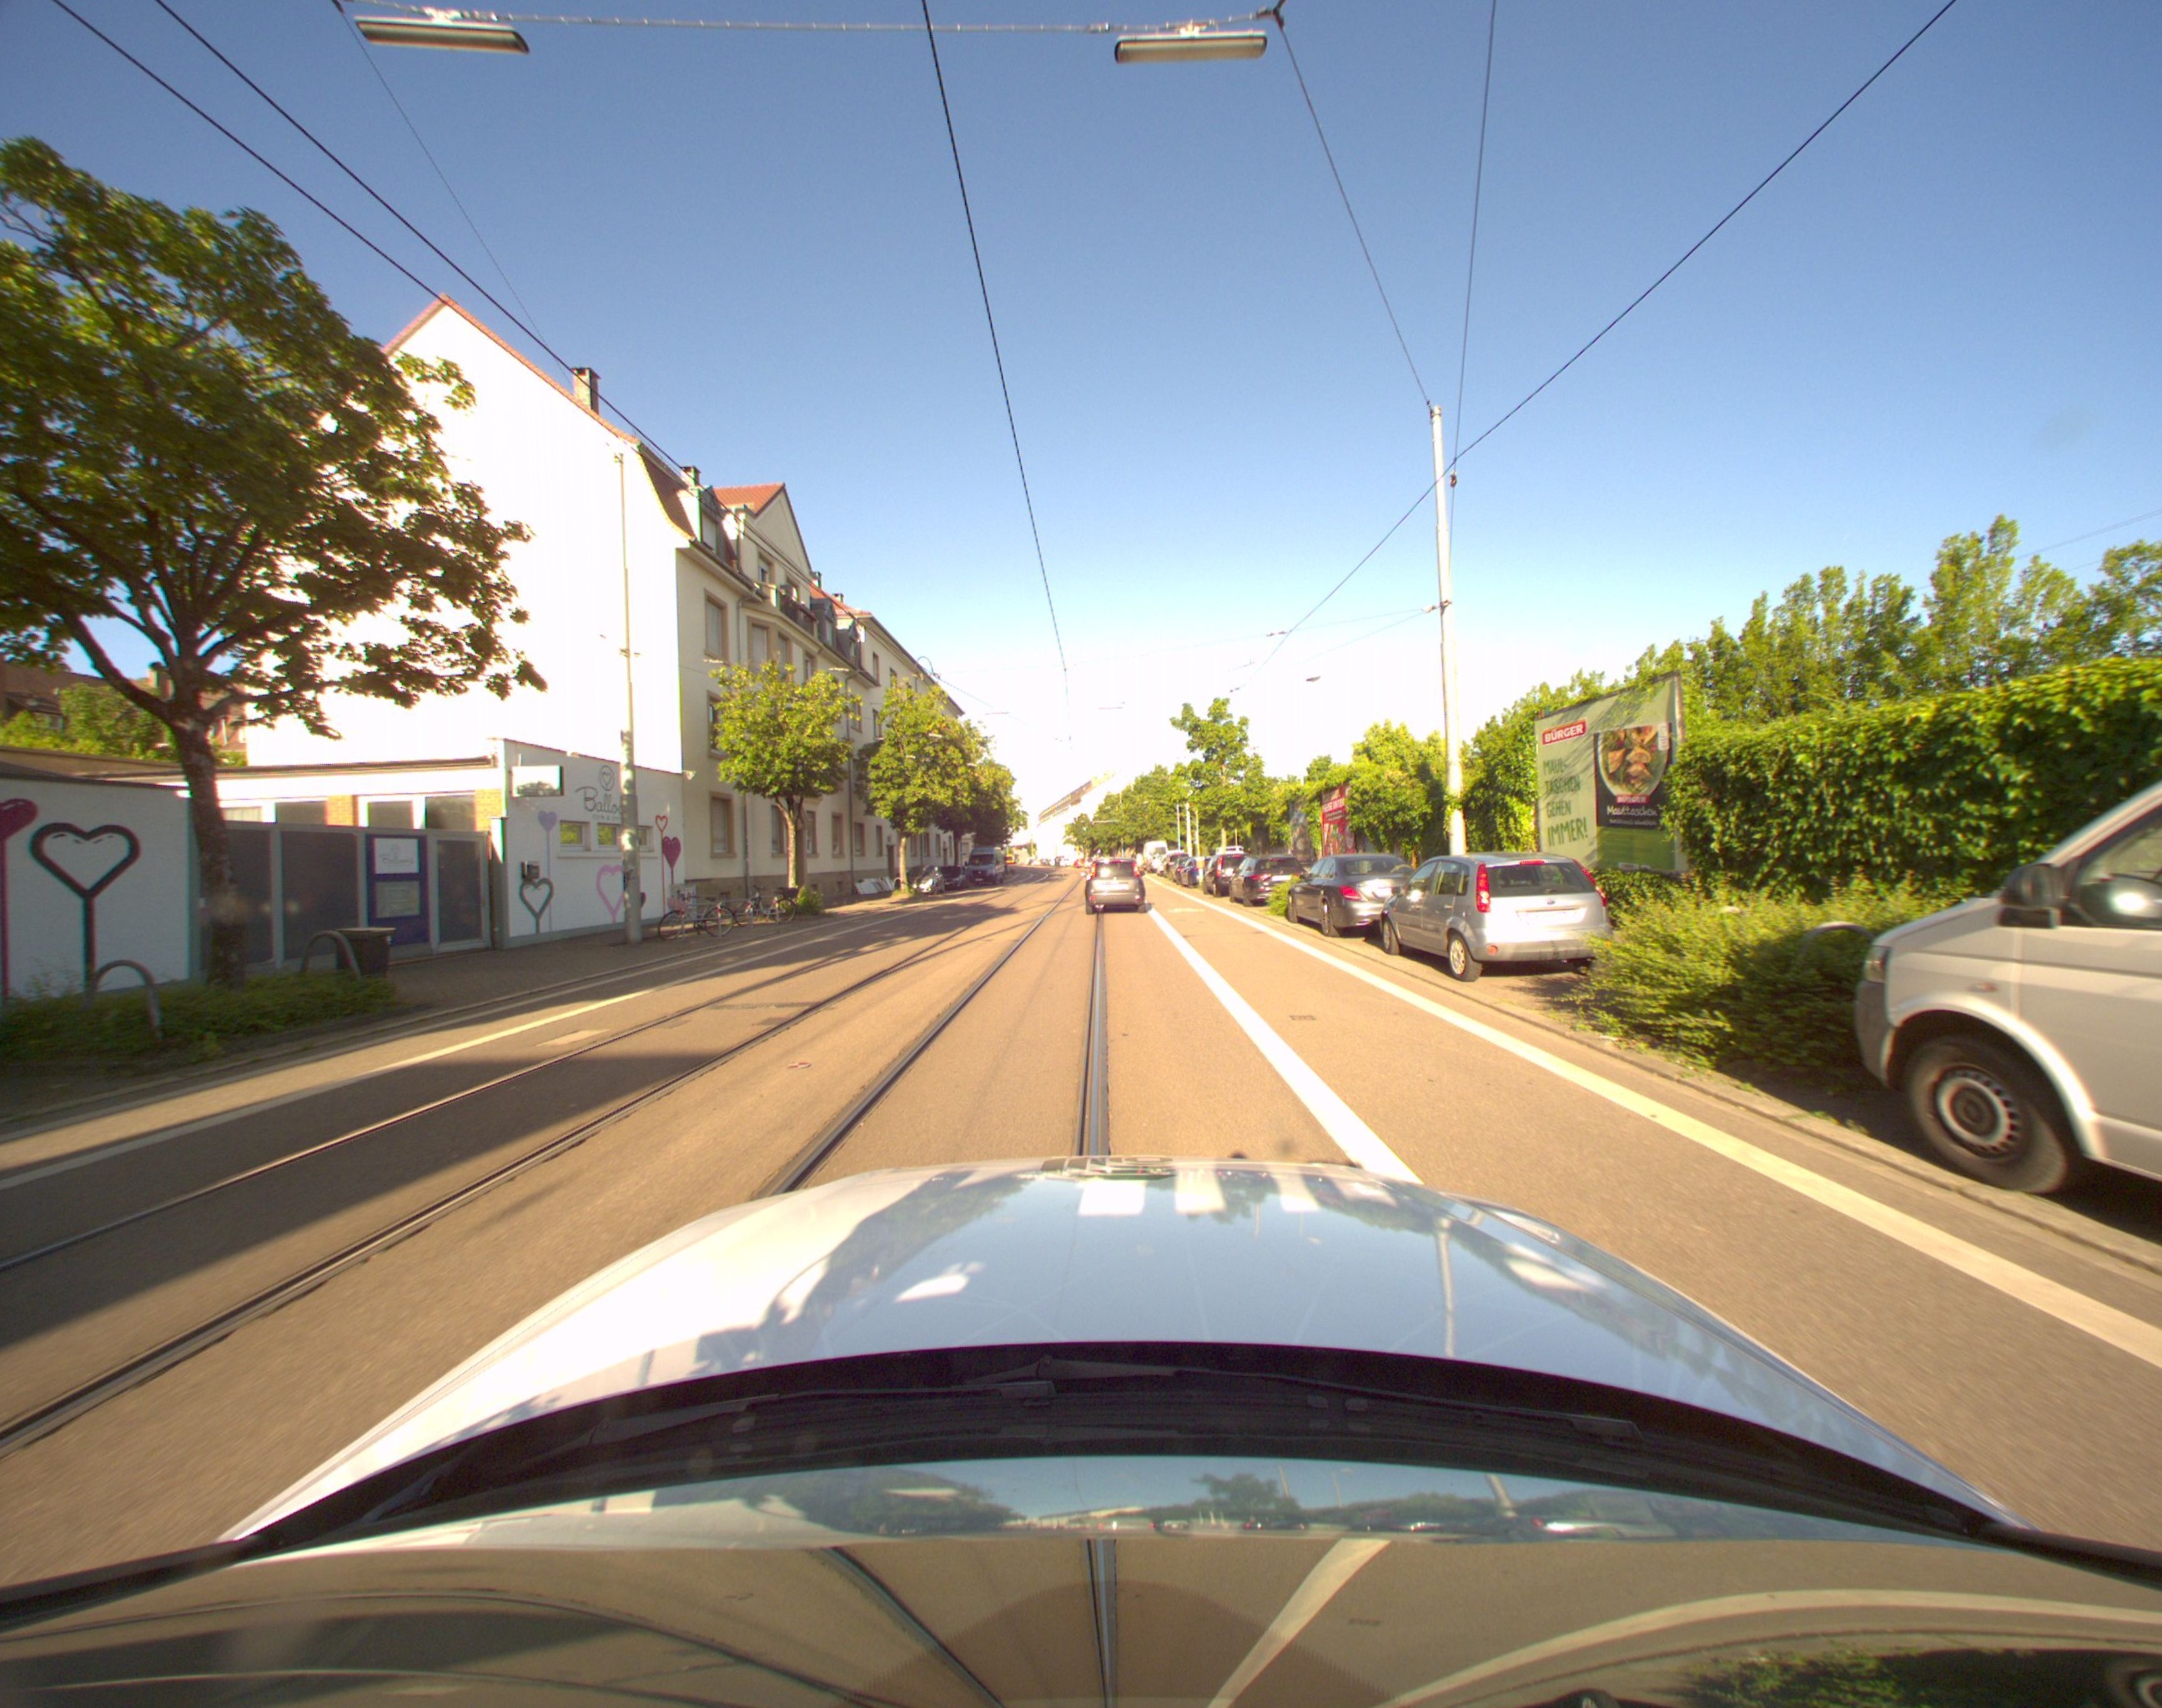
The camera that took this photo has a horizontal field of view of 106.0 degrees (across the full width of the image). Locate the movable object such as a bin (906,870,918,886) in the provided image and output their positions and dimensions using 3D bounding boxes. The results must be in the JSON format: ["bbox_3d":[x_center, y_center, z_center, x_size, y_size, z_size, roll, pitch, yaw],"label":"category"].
[{"bbox_3d":[-10.385,1.466,50.068,0.594,0.934,0.568,-3,0,-2],"label":"movable object such as a bin"}]

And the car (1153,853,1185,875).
[{"bbox_3d":[6.260,0.722,58.063,1.723,1.512,4.249,-1,-1,-1],"label":"car"}]

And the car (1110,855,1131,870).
[{"bbox_3d":[4.504,0.943,93.104,1.686,1.530,3.992,-4,0,-5],"label":"car"}]

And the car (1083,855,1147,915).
[{"bbox_3d":[0.922,0.808,23.234,1.644,1.541,4.235,-1,0,1],"label":"car"}]

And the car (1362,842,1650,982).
[{"bbox_3d":[5.272,0.641,10.814,1.865,1.473,4.079,-1,-1,3],"label":"car"}]

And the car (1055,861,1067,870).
[{"bbox_3d":[-3.577,2.094,147.296,1.655,1.571,3.863,-1,-1,-9],"label":"car"}]

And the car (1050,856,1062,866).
[{"bbox_3d":[-4.730,1.343,155.878,1.655,1.944,4.649,-1,-1,-9],"label":"car"}]

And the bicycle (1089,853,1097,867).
[{"bbox_3d":[1.506,0.799,104.591,0.675,1.747,2.150,-1,-1,-9],"label":"bicycle"}]

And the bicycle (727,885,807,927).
[{"bbox_3d":[-8.635,1.418,22.480,1.998,1.040,0.526,-1,-1,-45],"label":"bicycle"}]

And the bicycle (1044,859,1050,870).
[{"bbox_3d":[-6.517,1.924,154.454,0.741,2.014,2.802,-1,-1,-9],"label":"bicycle"}]

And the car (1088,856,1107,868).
[{"bbox_3d":[2.221,1.128,109.907,1.690,1.530,3.984,-4,0,-11],"label":"car"}]

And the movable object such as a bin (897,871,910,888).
[{"bbox_3d":[-10.397,1.508,47.646,0.594,0.934,0.568,-3,0,-2],"label":"movable object such as a bin"}]

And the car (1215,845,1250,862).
[{"bbox_3d":[20.674,-0.016,111.148,4.273,2.013,1.771,-4,-1,-5],"label":"car"}]

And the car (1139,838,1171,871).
[{"bbox_3d":[6.628,0.069,73.895,2.173,2.665,6.090,-4,-1,0],"label":"car"}]

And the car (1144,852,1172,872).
[{"bbox_3d":[6.308,0.638,67.225,1.904,1.530,4.600,-3,-1,0],"label":"car"}]

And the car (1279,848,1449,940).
[{"bbox_3d":[5.195,0.676,15.633,1.817,1.484,4.604,-1,-1,2],"label":"car"}]

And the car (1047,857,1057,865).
[{"bbox_3d":[-5.846,1.432,162.887,1.655,1.500,3.119,-1,-1,-9],"label":"car"}]

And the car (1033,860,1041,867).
[{"bbox_3d":[-10.061,2.200,185.259,1.583,1.405,3.365,-1,-1,-9],"label":"car"}]

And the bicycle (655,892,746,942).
[{"bbox_3d":[-8.789,1.434,18.878,0.661,1.040,1.798,-2,-1,39],"label":"bicycle"}]

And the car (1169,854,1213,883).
[{"bbox_3d":[5.953,0.757,44.590,1.723,1.464,4.495,-1,-1,-1],"label":"car"}]

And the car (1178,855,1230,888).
[{"bbox_3d":[5.778,0.800,38.818,1.723,1.464,4.338,-1,-1,-1],"label":"car"}]

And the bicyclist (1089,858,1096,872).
[{"bbox_3d":[1.501,1.417,104.531,0.699,1.759,0.755,-1,-1,-10],"label":"bicyclist"}]

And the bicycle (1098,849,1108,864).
[{"bbox_3d":[2.583,0.310,95.379,0.675,1.747,2.150,-1,-1,-9],"label":"bicycle"}]

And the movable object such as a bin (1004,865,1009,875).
[{"bbox_3d":[-7.827,1.669,85.595,0.484,0.987,0.658,-1,-1,-6],"label":"movable object such as a bin"}]

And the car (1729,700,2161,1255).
[{"bbox_3d":[4.743,0.407,2.272,1.846,1.991,5.246,-2,-1,3],"label":"car"}]

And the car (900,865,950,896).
[{"bbox_3d":[-8.050,1.341,42.312,1.645,1.491,4.002,-1,-1,2],"label":"car"}]

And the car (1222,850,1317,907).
[{"bbox_3d":[5.438,0.667,24.091,1.817,1.452,4.644,-2,-1,2],"label":"car"}]

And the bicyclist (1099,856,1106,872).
[{"bbox_3d":[2.546,1.177,95.458,0.699,1.759,0.755,-1,-1,-10],"label":"bicyclist"}]

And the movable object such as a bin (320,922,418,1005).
[{"bbox_3d":[-9.235,1.409,10.591,0.579,0.960,0.702,3,-1,2],"label":"movable object such as a bin"}]

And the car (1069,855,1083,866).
[{"bbox_3d":[-0.763,0.950,124.575,1.634,1.508,3.387,-5,0,-8],"label":"car"}]

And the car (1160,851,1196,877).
[{"bbox_3d":[6.313,0.634,53.277,1.723,1.604,4.340,-1,-1,-1],"label":"car"}]

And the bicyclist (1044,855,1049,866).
[{"bbox_3d":[-6.515,1.210,154.474,0.715,2.014,0.829,-1,-1,-10],"label":"bicyclist"}]

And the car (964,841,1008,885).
[{"bbox_3d":[-6.543,0.634,56.574,2.009,2.826,6.035,-1,-1,3],"label":"car"}]

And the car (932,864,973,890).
[{"bbox_3d":[-7.603,1.323,48.627,1.645,1.425,4.191,-1,-1,2],"label":"car"}]

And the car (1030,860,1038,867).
[{"bbox_3d":[-10.968,2.166,190.785,1.583,1.599,3.365,-1,-1,-9],"label":"car"}]

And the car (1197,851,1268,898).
[{"bbox_3d":[5.512,0.721,30.083,1.819,1.492,3.813,-4,-1,0],"label":"car"}]

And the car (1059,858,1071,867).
[{"bbox_3d":[-2.813,1.547,142.849,1.655,1.571,3.488,-1,-1,-9],"label":"car"}]

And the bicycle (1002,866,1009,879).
[{"bbox_3d":[-6.435,1.559,69.454,0.511,1.134,2.027,-1,-1,-5],"label":"bicycle"}]
